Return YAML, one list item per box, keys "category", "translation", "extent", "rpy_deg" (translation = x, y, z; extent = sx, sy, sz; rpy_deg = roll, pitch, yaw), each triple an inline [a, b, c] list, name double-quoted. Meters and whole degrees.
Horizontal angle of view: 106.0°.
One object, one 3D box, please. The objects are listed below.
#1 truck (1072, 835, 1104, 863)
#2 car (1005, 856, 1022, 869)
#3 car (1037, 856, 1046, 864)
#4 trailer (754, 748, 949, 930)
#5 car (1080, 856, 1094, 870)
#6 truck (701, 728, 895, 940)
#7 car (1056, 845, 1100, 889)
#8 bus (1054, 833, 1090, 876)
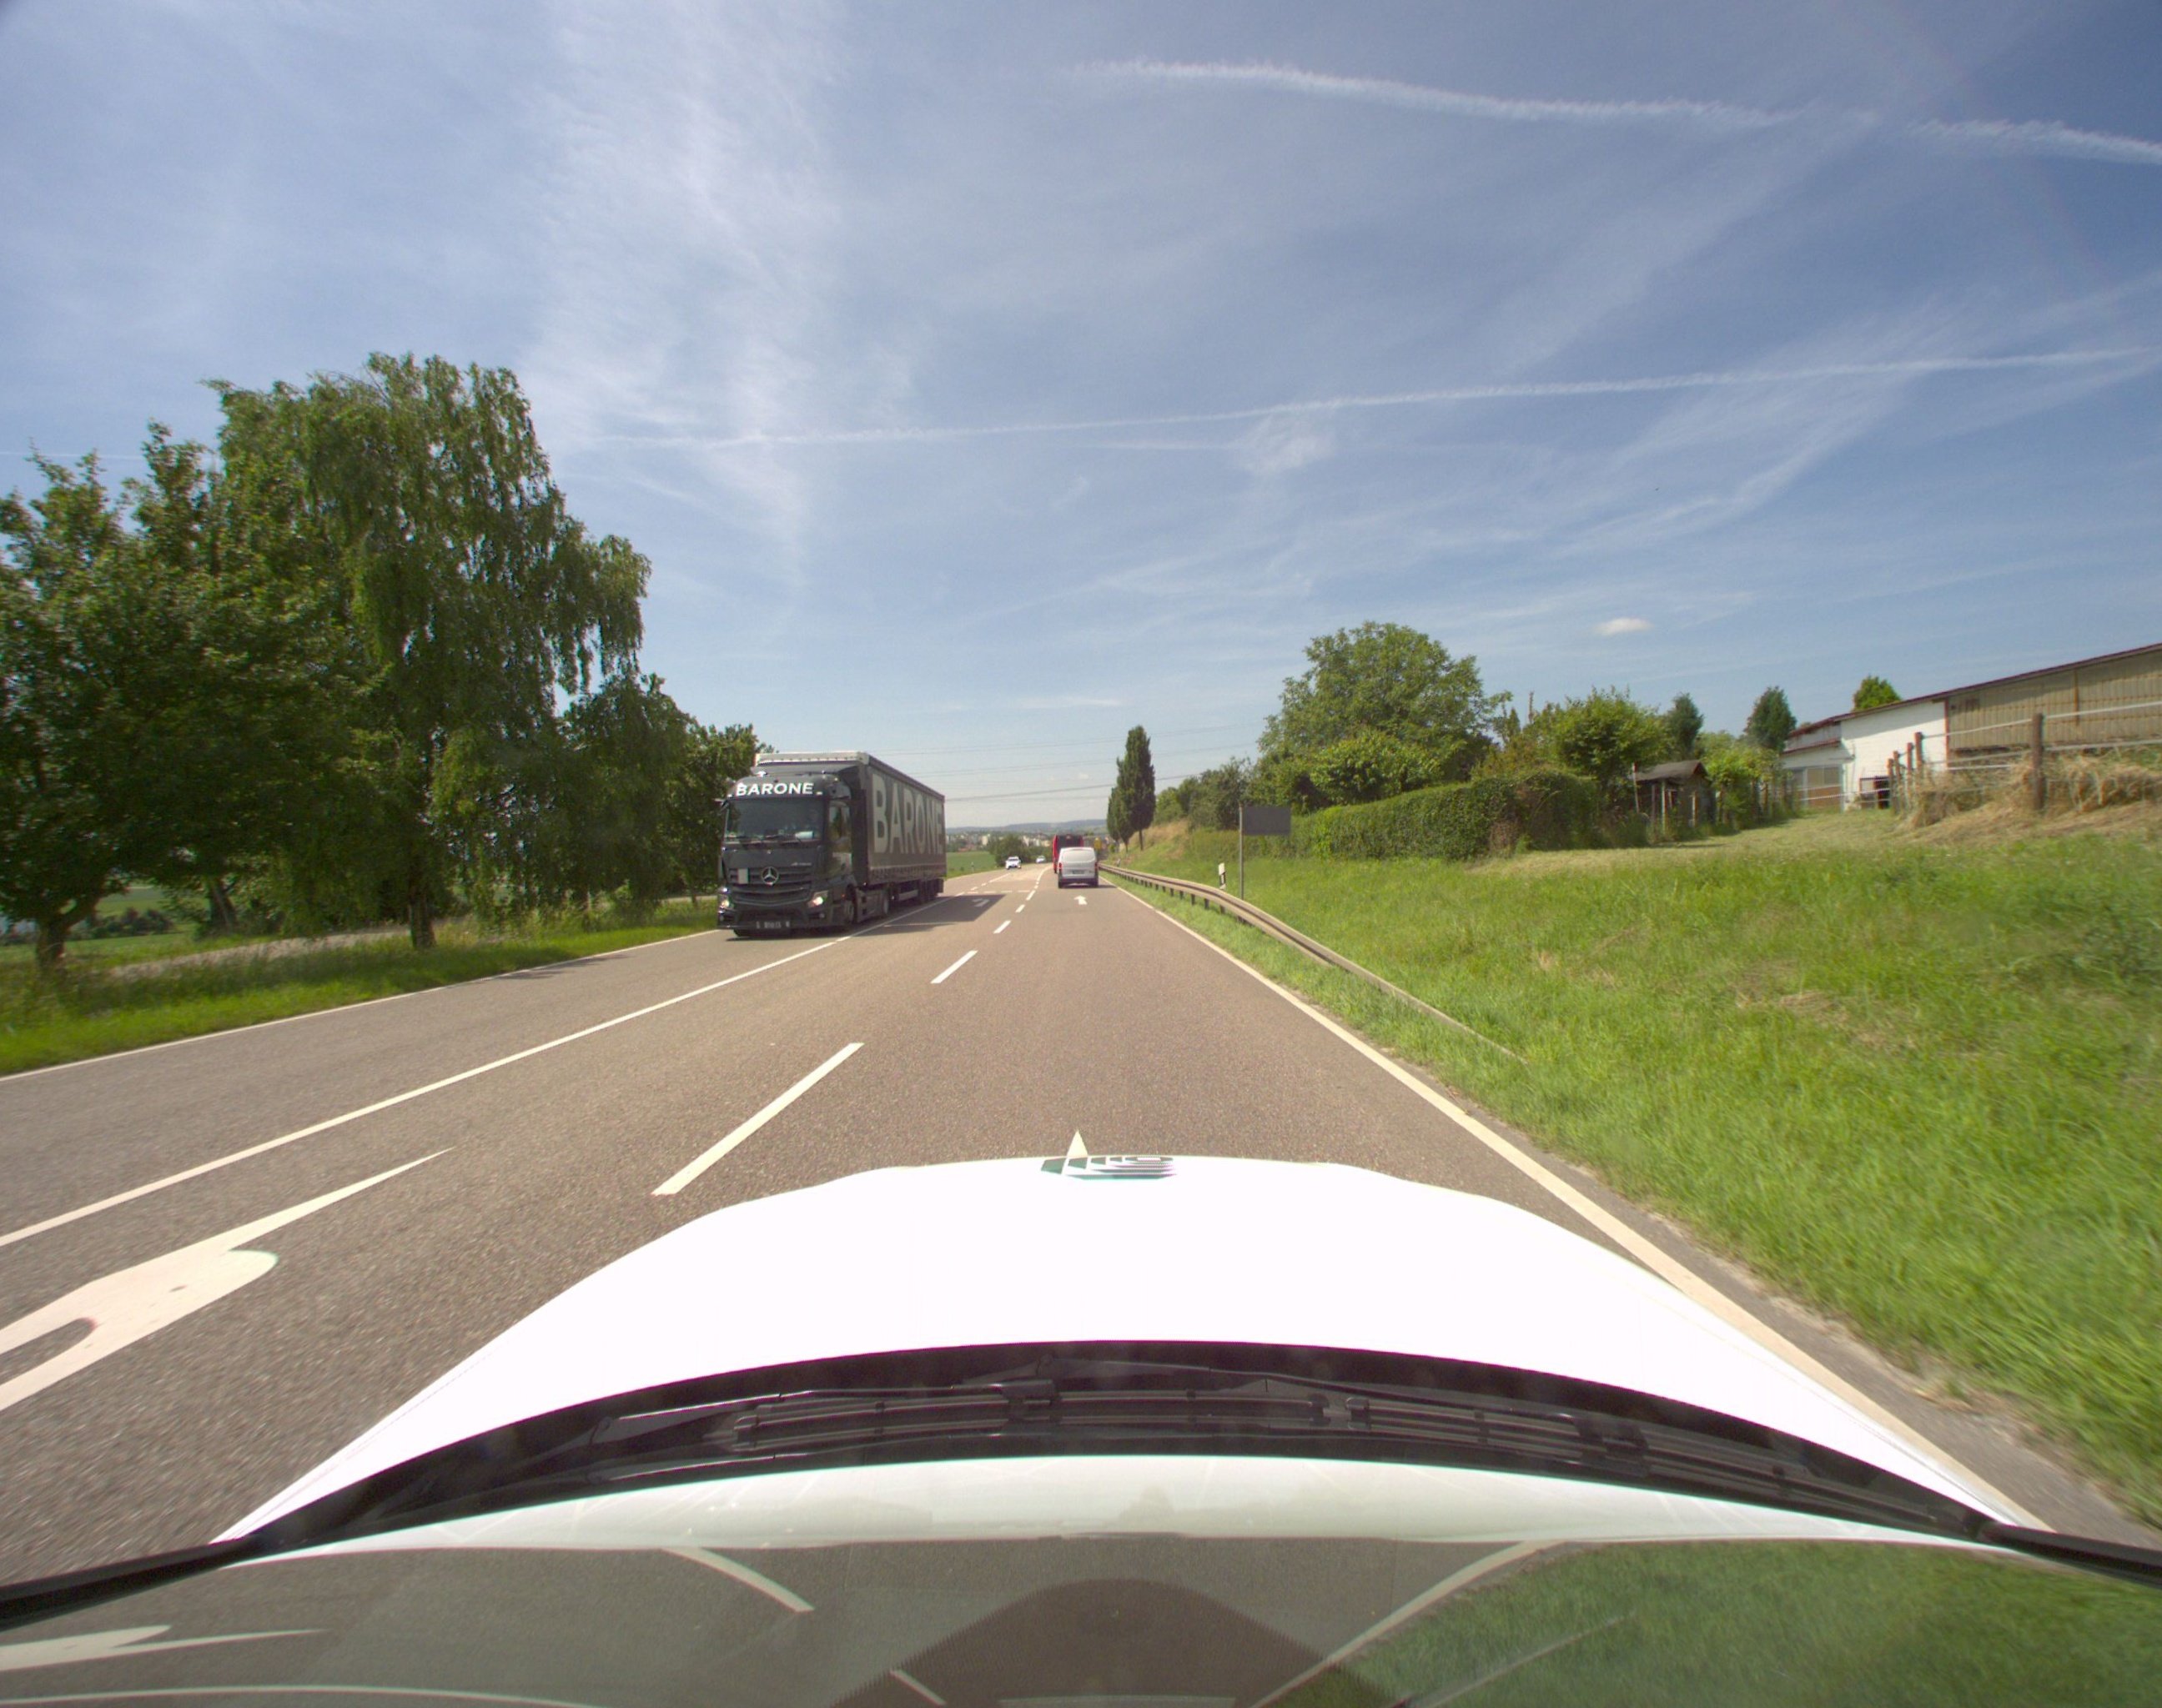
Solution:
- category: "truck"
  translation: [1.416, -0.825, 138.644]
  extent: [3.469, 4.423, 14.934]
  rpy_deg: [-3, 0, 7]
- category: "car"
  translation: [-8.906, 1.083, 107.467]
  extent: [1.848, 1.565, 4.072]
  rpy_deg: [-3, 0, -1]
- category: "car"
  translation: [-8.565, 1.294, 176.764]
  extent: [1.760, 1.687, 3.825]
  rpy_deg: [-3, 0, 0]
- category: "trailer"
  translation: [-6.423, -0.341, 25.748]
  extent: [2.586, 4.143, 13.730]
  rpy_deg: [-2, 0, -2]
- category: "car"
  translation: [0.897, 1.217, 115.692]
  extent: [1.878, 1.816, 3.765]
  rpy_deg: [-3, 0, 1]
- category: "truck"
  translation: [-6.193, -0.397, 18.769]
  extent: [2.578, 4.104, 5.437]
  rpy_deg: [-2, 0, -2]
- category: "car"
  translation: [-0.116, 0.580, 38.853]
  extent: [1.917, 1.889, 4.000]
  rpy_deg: [-3, 0, 0]
- category: "bus"
  translation: [-0.898, -0.136, 73.284]
  extent: [2.739, 3.352, 13.216]
  rpy_deg: [-4, 2, -1]
